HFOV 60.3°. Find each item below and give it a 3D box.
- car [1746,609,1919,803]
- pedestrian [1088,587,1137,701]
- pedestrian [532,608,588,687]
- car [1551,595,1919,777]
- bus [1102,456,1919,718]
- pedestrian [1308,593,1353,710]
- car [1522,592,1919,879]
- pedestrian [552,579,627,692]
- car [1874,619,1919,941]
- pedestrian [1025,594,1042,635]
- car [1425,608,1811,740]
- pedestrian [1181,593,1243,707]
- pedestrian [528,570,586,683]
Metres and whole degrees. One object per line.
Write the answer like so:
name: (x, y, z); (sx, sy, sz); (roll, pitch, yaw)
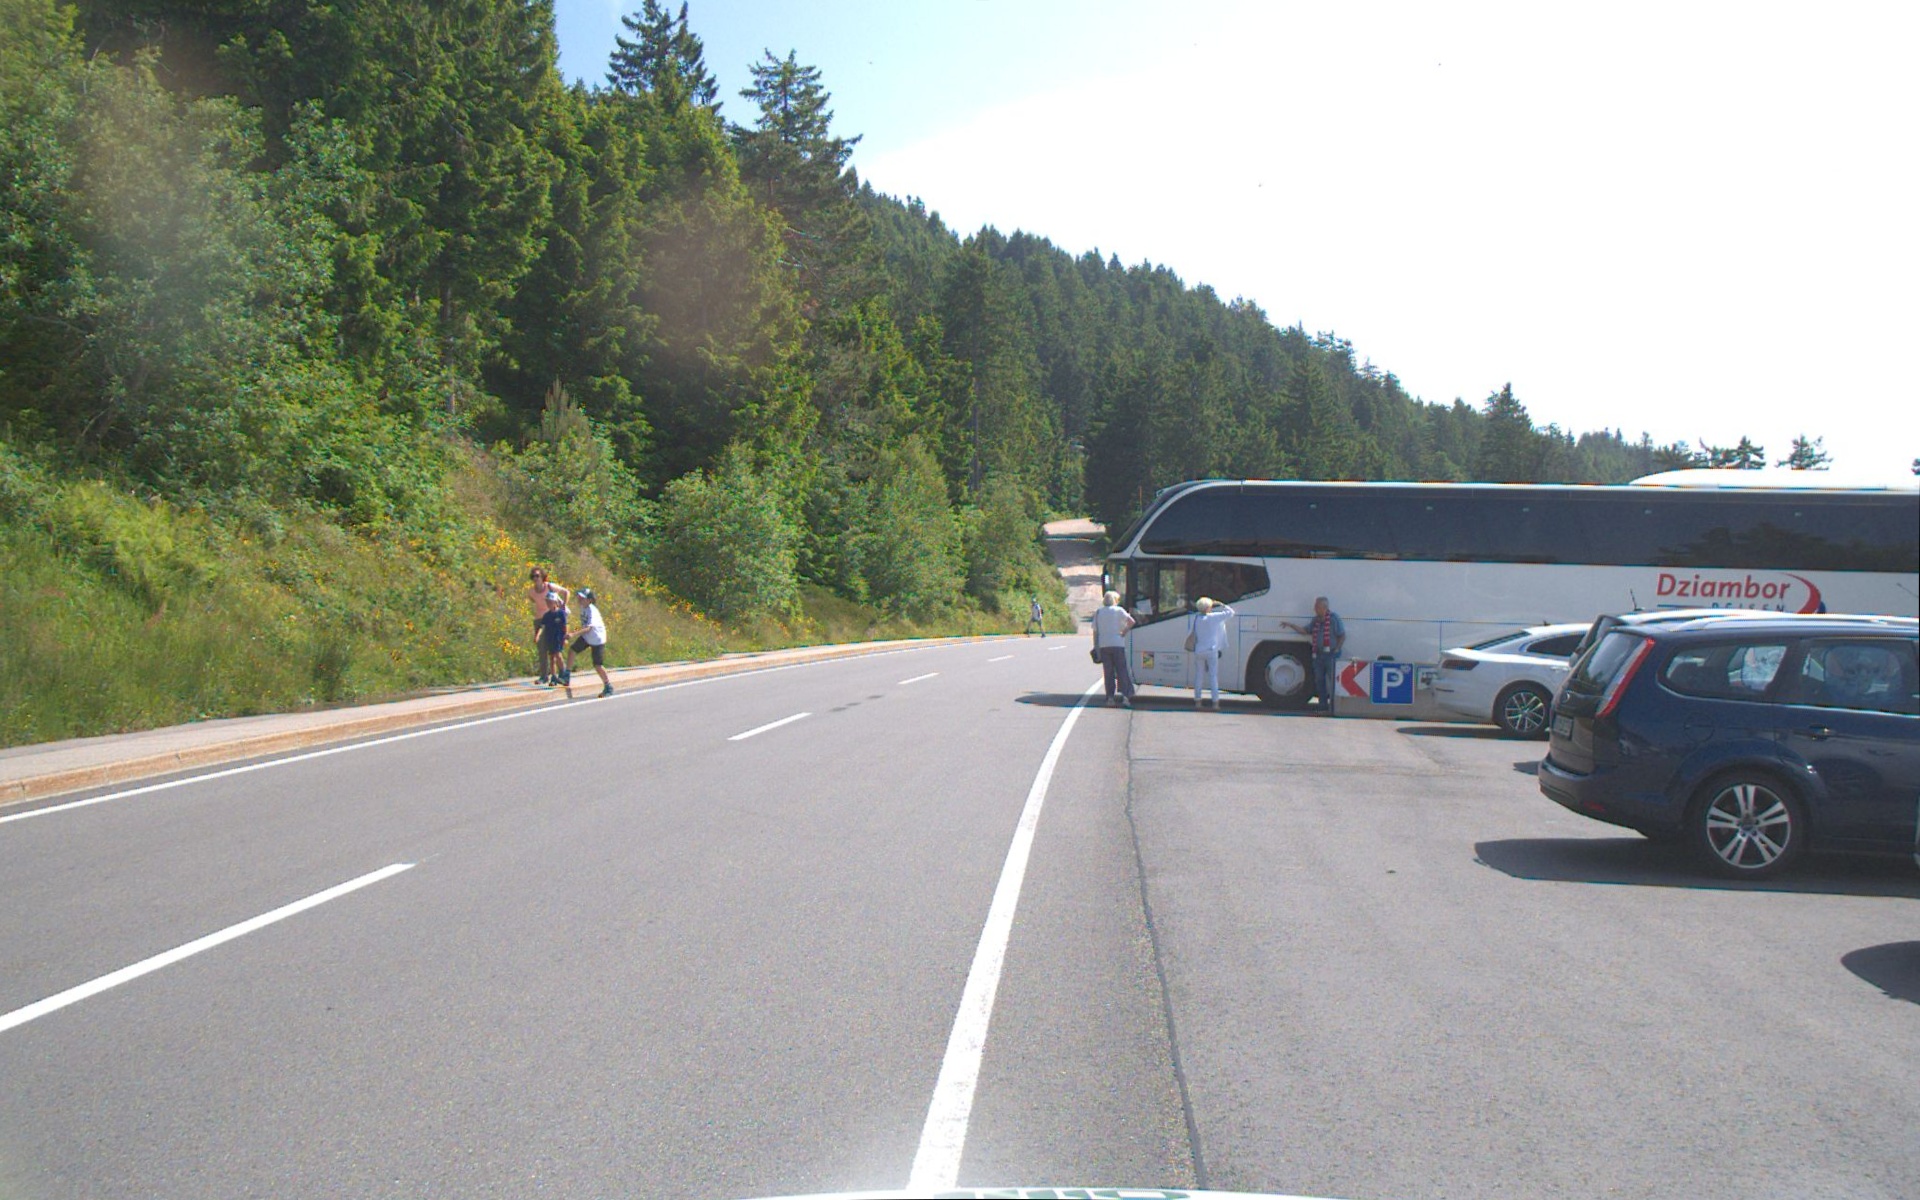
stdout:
car: (8.666, 0.870, 13.256); (3.902, 1.444, 1.768); (2, 0, 10)
pedestrian: (2.262, 0.660, 24.630); (0.692, 1.672, 0.745); (0, -2, 2)
pedestrian: (-5.808, 0.679, 24.030); (0.556, 1.121, 0.745); (0, 0, 7)
car: (8.081, 0.810, 16.390); (3.902, 1.601, 1.768); (2, 0, 10)
bus: (8.640, -0.250, 25.410); (12.572, 3.640, 2.841); (1, 0, 12)
pedestrian: (5.411, 0.734, 24.185); (0.630, 1.671, 0.745); (0, 0, 12)
car: (5.727, 0.786, 10.144); (4.042, 1.571, 1.673); (1, 1, 7)
pedestrian: (-5.234, 0.482, 23.377); (0.872, 1.564, 0.573); (0, 0, -43)
car: (6.205, 0.897, 6.925); (3.802, 1.445, 1.614); (3, -1, 4)
pedestrian: (3.218, 0.631, 72.012); (0.668, 1.777, 0.826); (1, 0, 5)
car: (8.190, 0.883, 20.990); (4.330, 1.420, 1.719); (2, 0, 14)
pedestrian: (3.694, 0.714, 24.252); (0.633, 1.623, 0.742); (0, 0, 37)
pedestrian: (-6.073, 0.382, 24.970); (0.564, 1.671, 0.895); (0, 0, 7)
